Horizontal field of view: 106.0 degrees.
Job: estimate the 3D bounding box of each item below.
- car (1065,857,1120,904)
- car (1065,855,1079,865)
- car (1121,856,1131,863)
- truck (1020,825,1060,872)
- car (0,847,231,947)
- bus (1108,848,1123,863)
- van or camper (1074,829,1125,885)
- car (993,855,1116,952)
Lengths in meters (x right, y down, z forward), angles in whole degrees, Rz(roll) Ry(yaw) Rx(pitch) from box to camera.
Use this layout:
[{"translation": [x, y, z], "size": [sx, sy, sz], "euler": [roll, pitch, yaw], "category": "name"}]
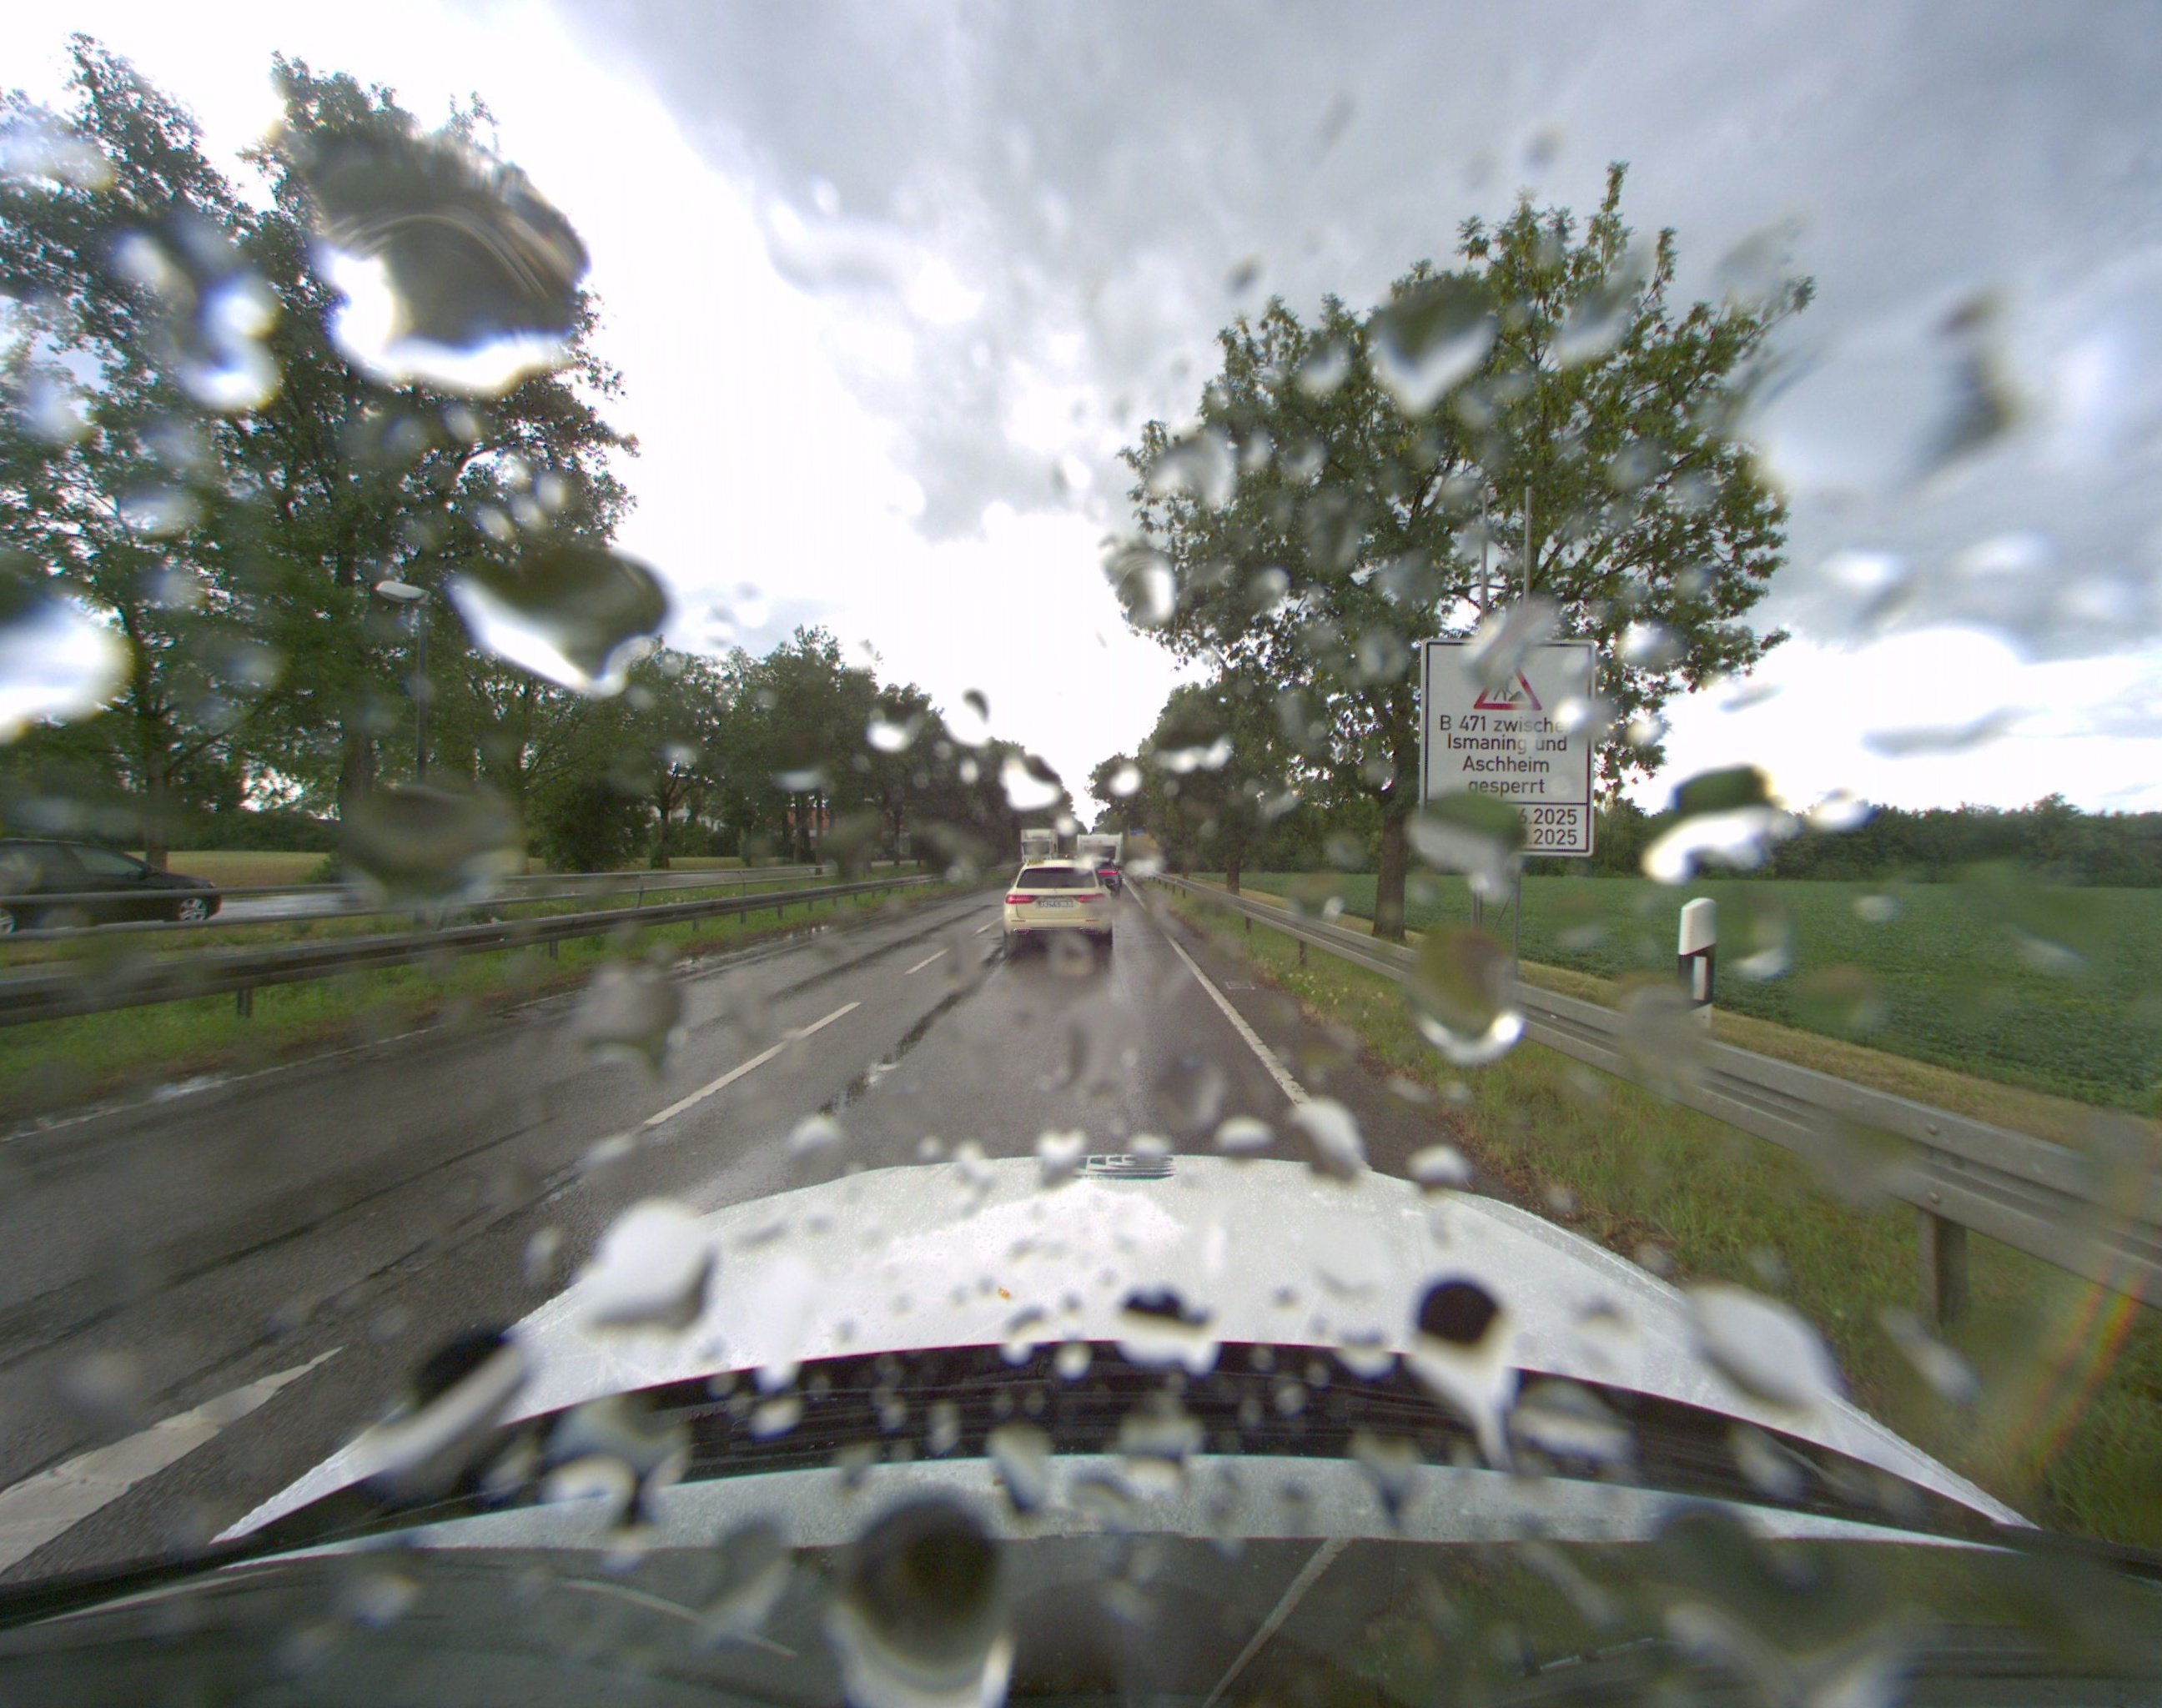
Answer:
[{"translation": [0.448, 0.819, 27.344], "size": [1.657, 1.430, 4.003], "euler": [-1, 0, 3], "category": "car"}, {"translation": [-1.262, 0.822, 114.962], "size": [1.708, 1.451, 4.112], "euler": [0, 0, 1], "category": "car"}, {"translation": [7.794, 0.981, 141.413], "size": [1.545, 1.118, 4.002], "euler": [0, -1, 3], "category": "car"}, {"translation": [-3.163, -0.414, 65.210], "size": [2.567, 3.452, 9.556], "euler": [-1, 0, 1], "category": "truck"}, {"translation": [-15.458, 0.579, 12.271], "size": [1.279, 1.331, 3.894], "euler": [2, 0, -3], "category": "car"}, {"translation": [4.589, 0.177, 108.708], "size": [1.986, 2.013, 4.001], "euler": [-1, 0, 1], "category": "bus"}, {"translation": [1.041, 0.133, 42.207], "size": [2.479, 2.685, 5.704], "euler": [0, 0, 3], "category": "van or camper"}, {"translation": [-0.329, 0.778, 14.654], "size": [1.857, 1.476, 4.003], "euler": [-1, 0, 3], "category": "car"}]
